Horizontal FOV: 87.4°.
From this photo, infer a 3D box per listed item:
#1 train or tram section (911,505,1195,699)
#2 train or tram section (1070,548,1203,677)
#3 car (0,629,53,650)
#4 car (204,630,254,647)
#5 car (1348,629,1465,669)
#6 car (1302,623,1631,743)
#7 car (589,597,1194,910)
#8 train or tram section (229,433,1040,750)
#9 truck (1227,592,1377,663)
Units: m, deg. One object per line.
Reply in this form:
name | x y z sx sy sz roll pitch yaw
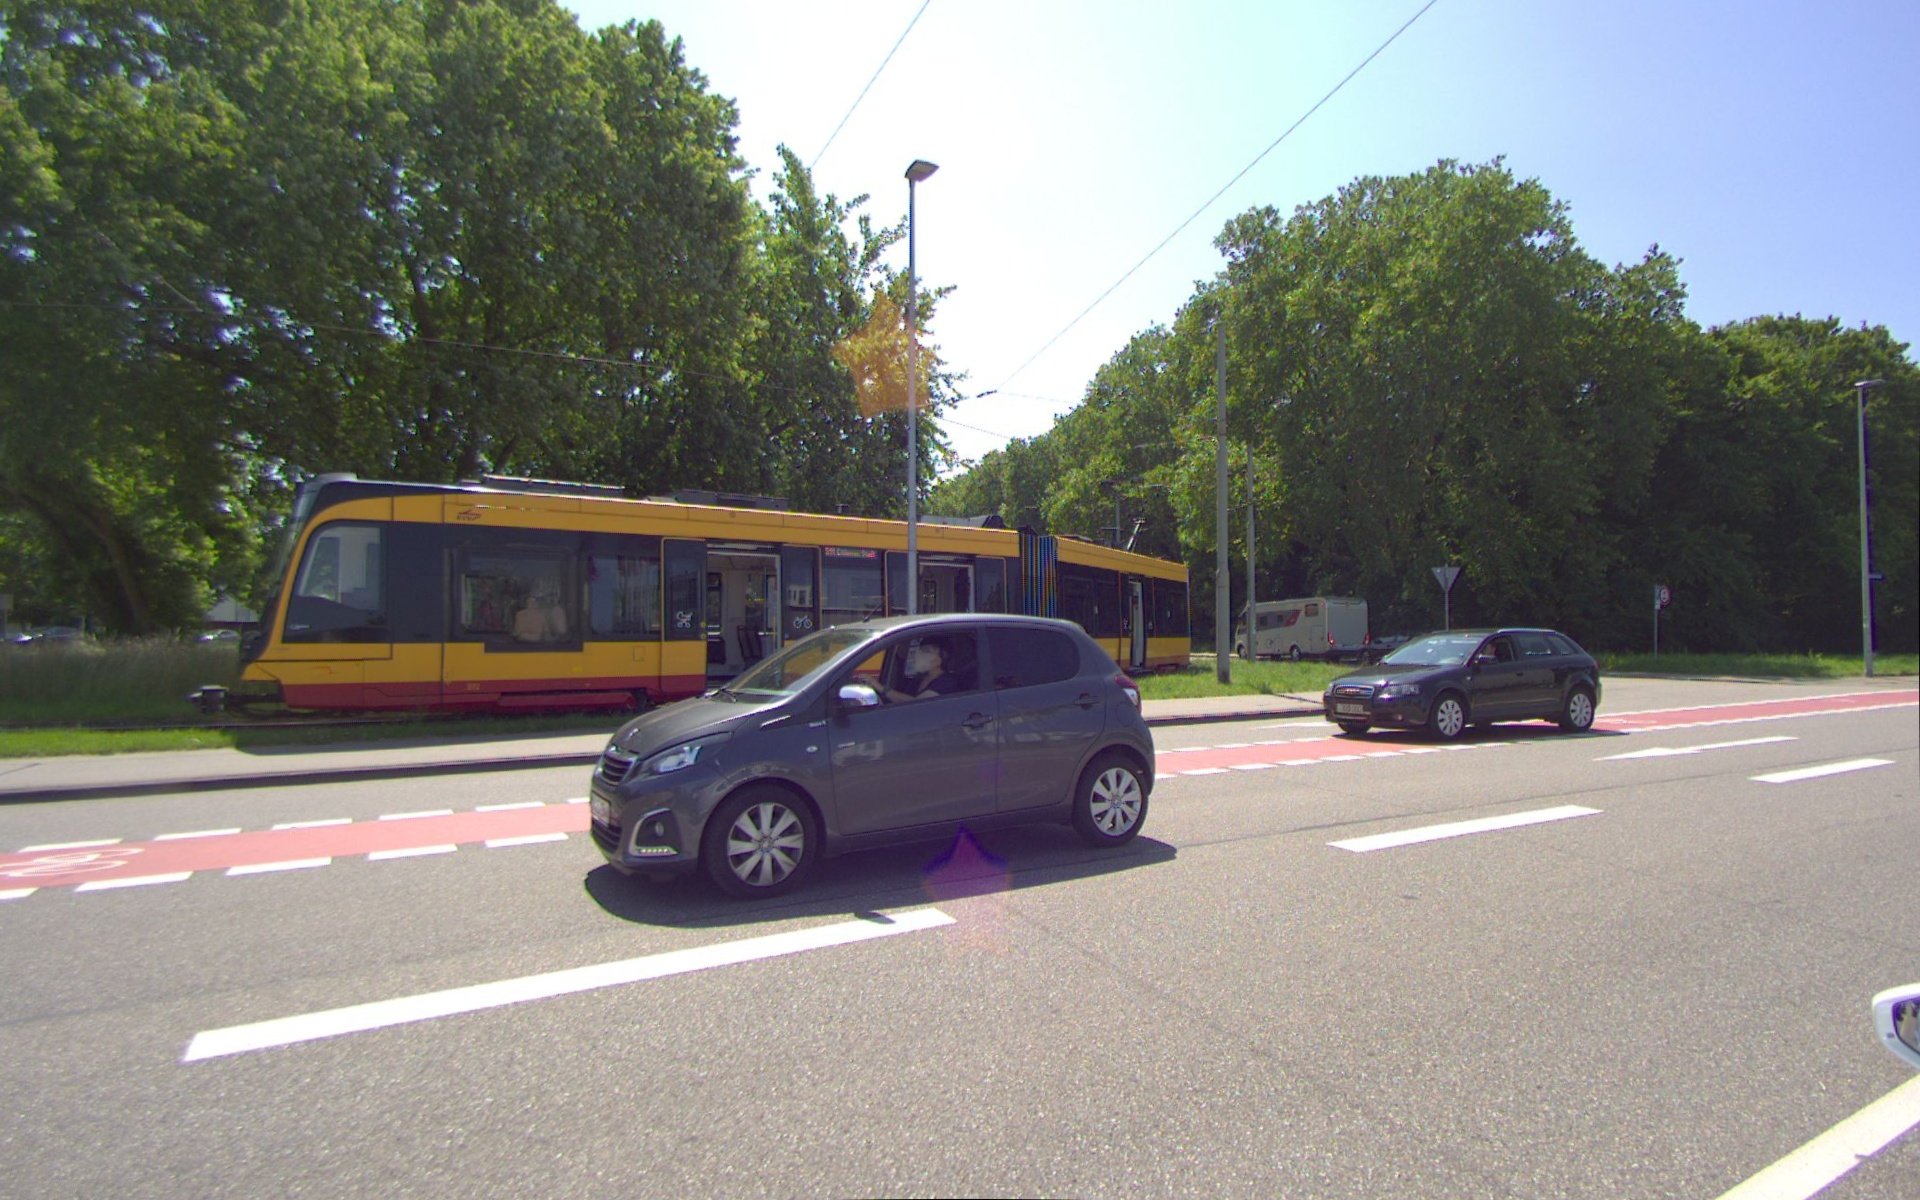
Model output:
train or tram section | 2.992 0.259 25.605 2.971 3.808 11.602 -2 -3 28
train or tram section | 6.059 0.669 37.210 2.965 3.808 14.056 -1 -2 2
car | -61.638 2.605 65.591 1.574 1.303 3.645 -2 -1 -1
car | -61.072 3.230 83.971 1.574 1.303 3.645 -2 -1 -1
car | 17.426 1.897 39.422 1.642 1.435 4.293 2 -2 -21
car | 7.121 1.096 14.099 4.379 1.424 1.740 0 -3 -24
car | -0.379 0.789 6.331 3.460 1.475 1.615 1 -3 -30
train or tram section | -4.476 0.029 17.122 12.871 3.808 2.995 1 -3 -37
truck | 15.447 1.319 46.041 2.528 2.948 7.311 1 -2 -19
